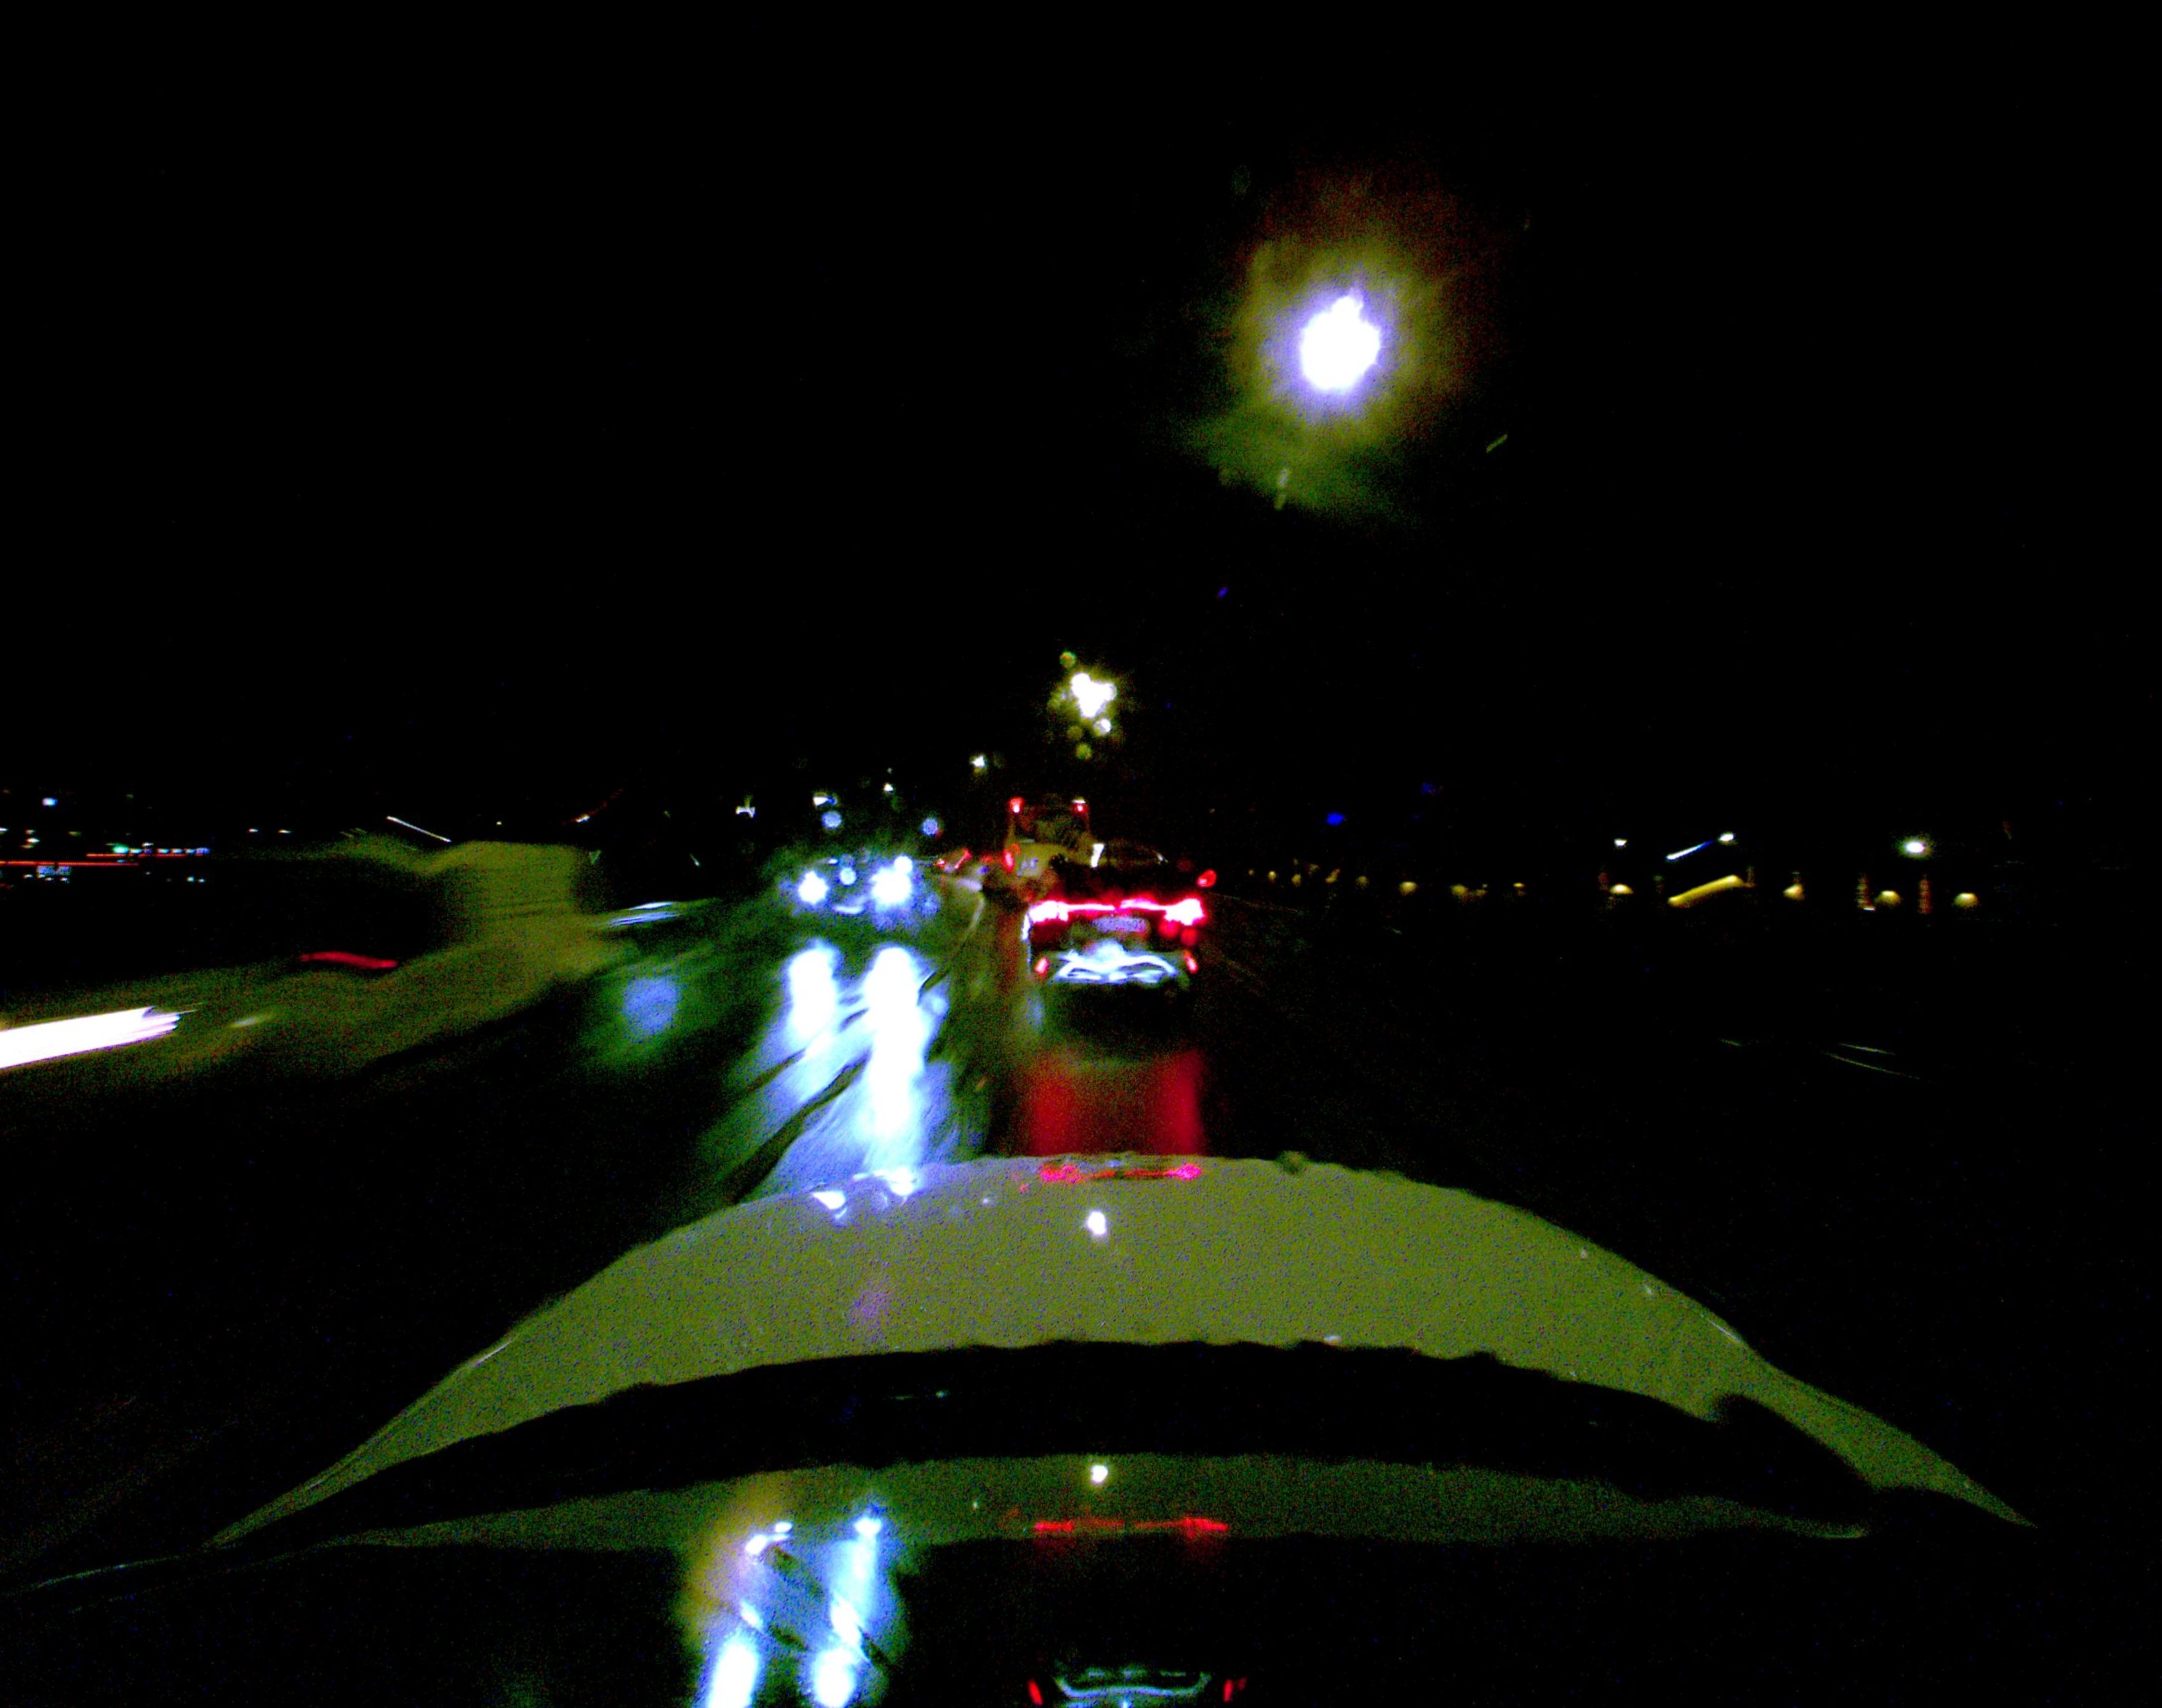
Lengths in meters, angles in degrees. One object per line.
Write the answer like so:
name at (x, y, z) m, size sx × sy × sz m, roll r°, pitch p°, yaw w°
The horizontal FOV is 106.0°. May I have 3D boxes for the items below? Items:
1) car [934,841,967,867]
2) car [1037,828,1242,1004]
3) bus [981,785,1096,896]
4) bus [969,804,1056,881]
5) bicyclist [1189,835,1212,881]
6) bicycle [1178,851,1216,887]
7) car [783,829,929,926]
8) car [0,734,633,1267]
car at (-9.465, 0.026, 58.876) m, size 1.642 × 1.655 × 3.684 m, roll -4°, pitch -1°, yaw -20°
car at (0.584, 0.564, 9.418) m, size 1.849 × 1.586 × 4.001 m, roll -1°, pitch 0°, yaw 1°
bus at (-1.981, -0.491, 29.813) m, size 3.081 × 3.132 × 12.663 m, roll -1°, pitch 1°, yaw -8°
bus at (-3.543, -0.428, 39.962) m, size 3.051 × 3.131 × 8.045 m, roll -6°, pitch 0°, yaw -12°
bicyclist at (3.538, 0.104, 24.139) m, size 0.452 × 1.349 × 0.762 m, roll 0°, pitch 0°, yaw -10°
bicycle at (3.470, 0.435, 24.581) m, size 0.484 × 1.034 × 2.164 m, roll -1°, pitch 0°, yaw -10°
car at (-4.573, 0.407, 17.398) m, size 2.019 × 1.719 × 4.974 m, roll -1°, pitch 0°, yaw -4°
car at (-4.642, 0.524, 4.706) m, size 1.748 × 1.861 × 4.001 m, roll -3°, pitch 1°, yaw 1°
